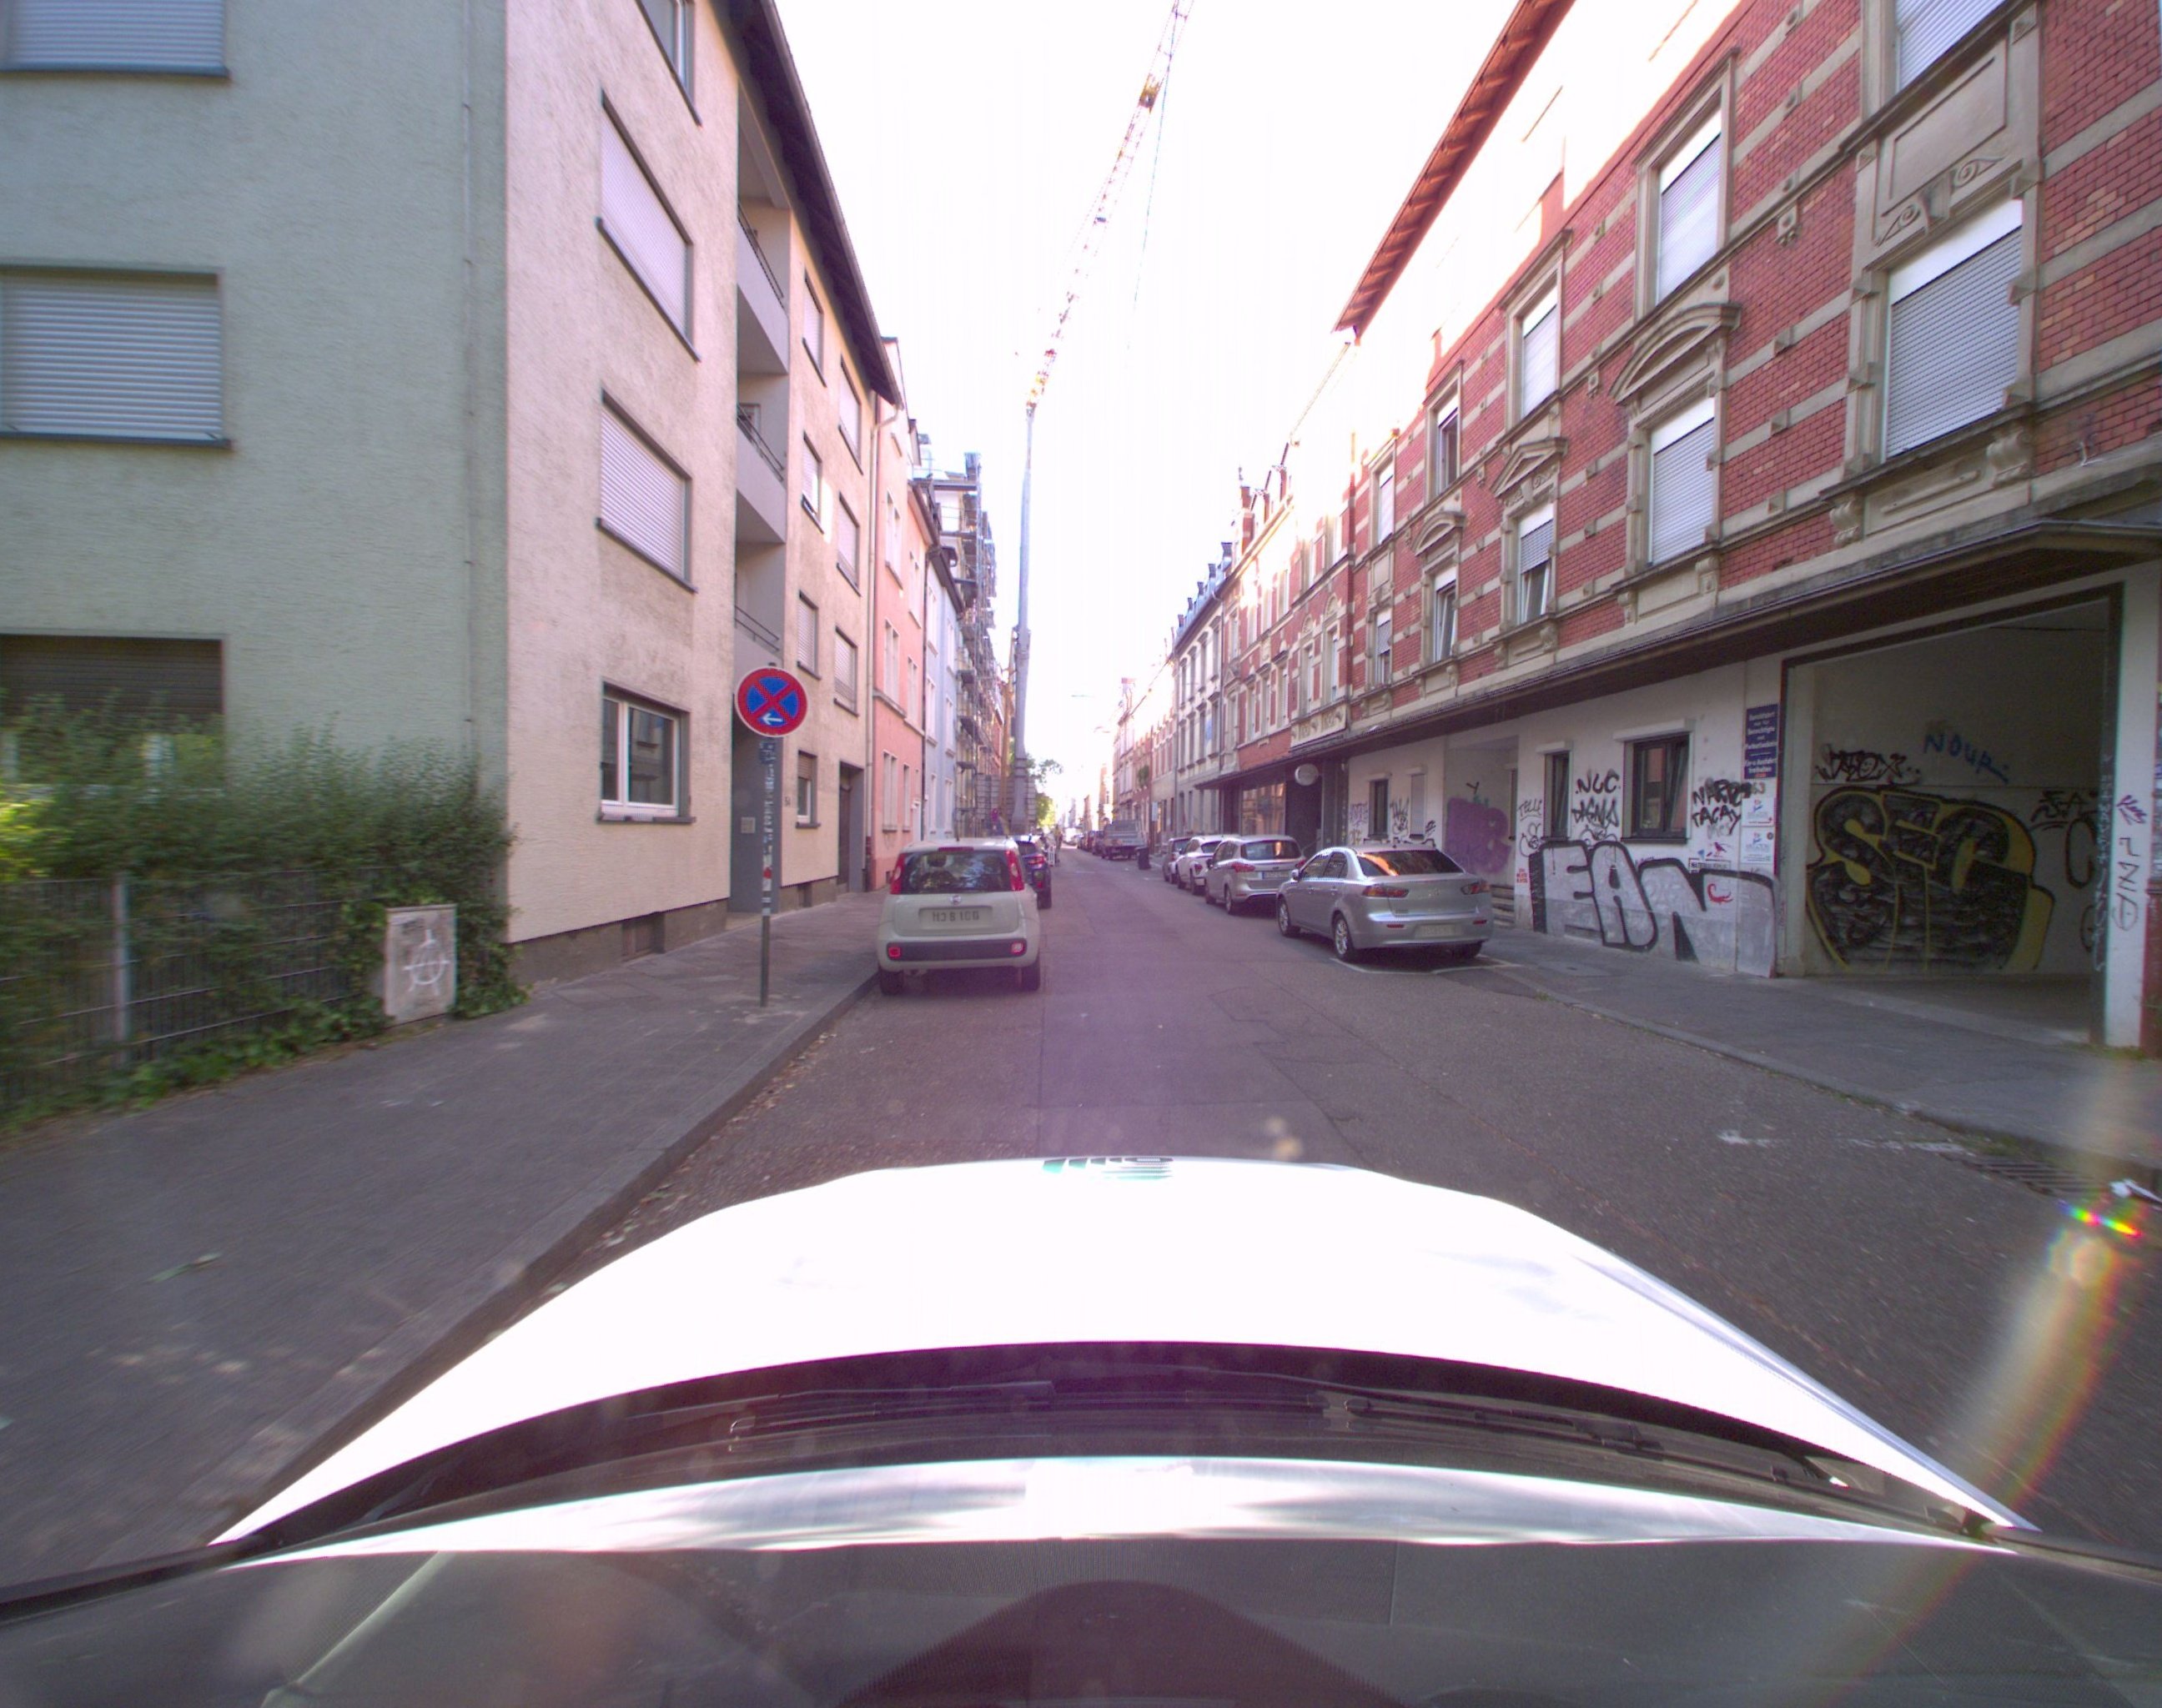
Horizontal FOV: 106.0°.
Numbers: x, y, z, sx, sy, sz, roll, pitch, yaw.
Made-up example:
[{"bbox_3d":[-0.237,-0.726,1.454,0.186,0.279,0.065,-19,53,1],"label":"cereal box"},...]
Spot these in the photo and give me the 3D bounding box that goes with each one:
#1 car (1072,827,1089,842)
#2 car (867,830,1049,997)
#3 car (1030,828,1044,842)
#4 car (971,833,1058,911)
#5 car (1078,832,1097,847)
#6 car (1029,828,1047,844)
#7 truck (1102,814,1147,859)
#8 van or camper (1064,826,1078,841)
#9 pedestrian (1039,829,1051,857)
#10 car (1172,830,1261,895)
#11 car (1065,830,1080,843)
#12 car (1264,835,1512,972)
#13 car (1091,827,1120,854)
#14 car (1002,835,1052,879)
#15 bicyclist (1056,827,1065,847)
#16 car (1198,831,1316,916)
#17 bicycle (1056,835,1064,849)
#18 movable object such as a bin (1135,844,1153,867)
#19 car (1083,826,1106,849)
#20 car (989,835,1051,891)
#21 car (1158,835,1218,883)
[{"bbox_3d":[-0.094,-2.667,111.417,1.990,2.013,3.995,1,2,-4],"label":"car"},{"bbox_3d":[-1.309,0.515,9.609,1.672,1.539,3.863,-1,1,-5],"label":"car"},{"bbox_3d":[-6.213,-2.699,114.727,1.990,1.848,3.995,-1,1,-4],"label":"car"},{"bbox_3d":[-1.532,0.320,18.711,1.726,1.539,4.371,-1,1,-5],"label":"car"},{"bbox_3d":[0.656,-1.598,87.018,1.672,1.571,3.863,0,1,-5],"label":"car"},{"bbox_3d":[-4.358,-1.809,81.385,1.672,1.571,3.863,0,1,-5],"label":"car"},{"bbox_3d":[2.614,-1.089,50.623,2.185,2.606,5.228,-1,1,-4],"label":"truck"},{"bbox_3d":[-1.716,-3.487,139.950,1.991,2.508,4.193,-1,1,-7],"label":"van or camper"},{"bbox_3d":[-2.230,-0.684,50.563,0.656,1.732,0.719,-2,1,-3],"label":"pedestrian"},{"bbox_3d":[3.783,0.178,23.422,1.742,1.675,4.338,0,1,-2],"label":"car"},{"bbox_3d":[-1.324,-2.720,125.411,1.990,1.848,3.995,-1,1,-4],"label":"car"},{"bbox_3d":[4.074,0.532,11.680,1.717,1.562,4.395,1,2,-3],"label":"car"},{"bbox_3d":[1.806,-1.033,61.091,1.672,1.962,4.102,0,1,-5],"label":"car"},{"bbox_3d":[-1.938,0.066,29.745,1.671,1.477,4.604,0,1,-3],"label":"car"},{"bbox_3d":[-1.856,-1.556,72.820,0.728,1.761,0.835,1,2,-3],"label":"bicyclist"},{"bbox_3d":[3.706,0.342,17.783,1.635,1.656,3.867,0,1,-2],"label":"car"},{"bbox_3d":[-1.887,-1.079,72.937,0.723,1.186,2.041,1,2,-2],"label":"bicycle"},{"bbox_3d":[2.957,0.068,38.395,0.793,1.056,0.659,0,1,-3],"label":"movable object such as a bin"},{"bbox_3d":[1.210,-1.458,73.552,1.672,2.031,3.863,0,1,-5],"label":"car"},{"bbox_3d":[-1.766,0.205,24.305,1.671,1.511,4.410,0,1,-3],"label":"car"},{"bbox_3d":[3.696,0.117,28.663,1.592,1.560,3.812,0,1,-1],"label":"car"}]
